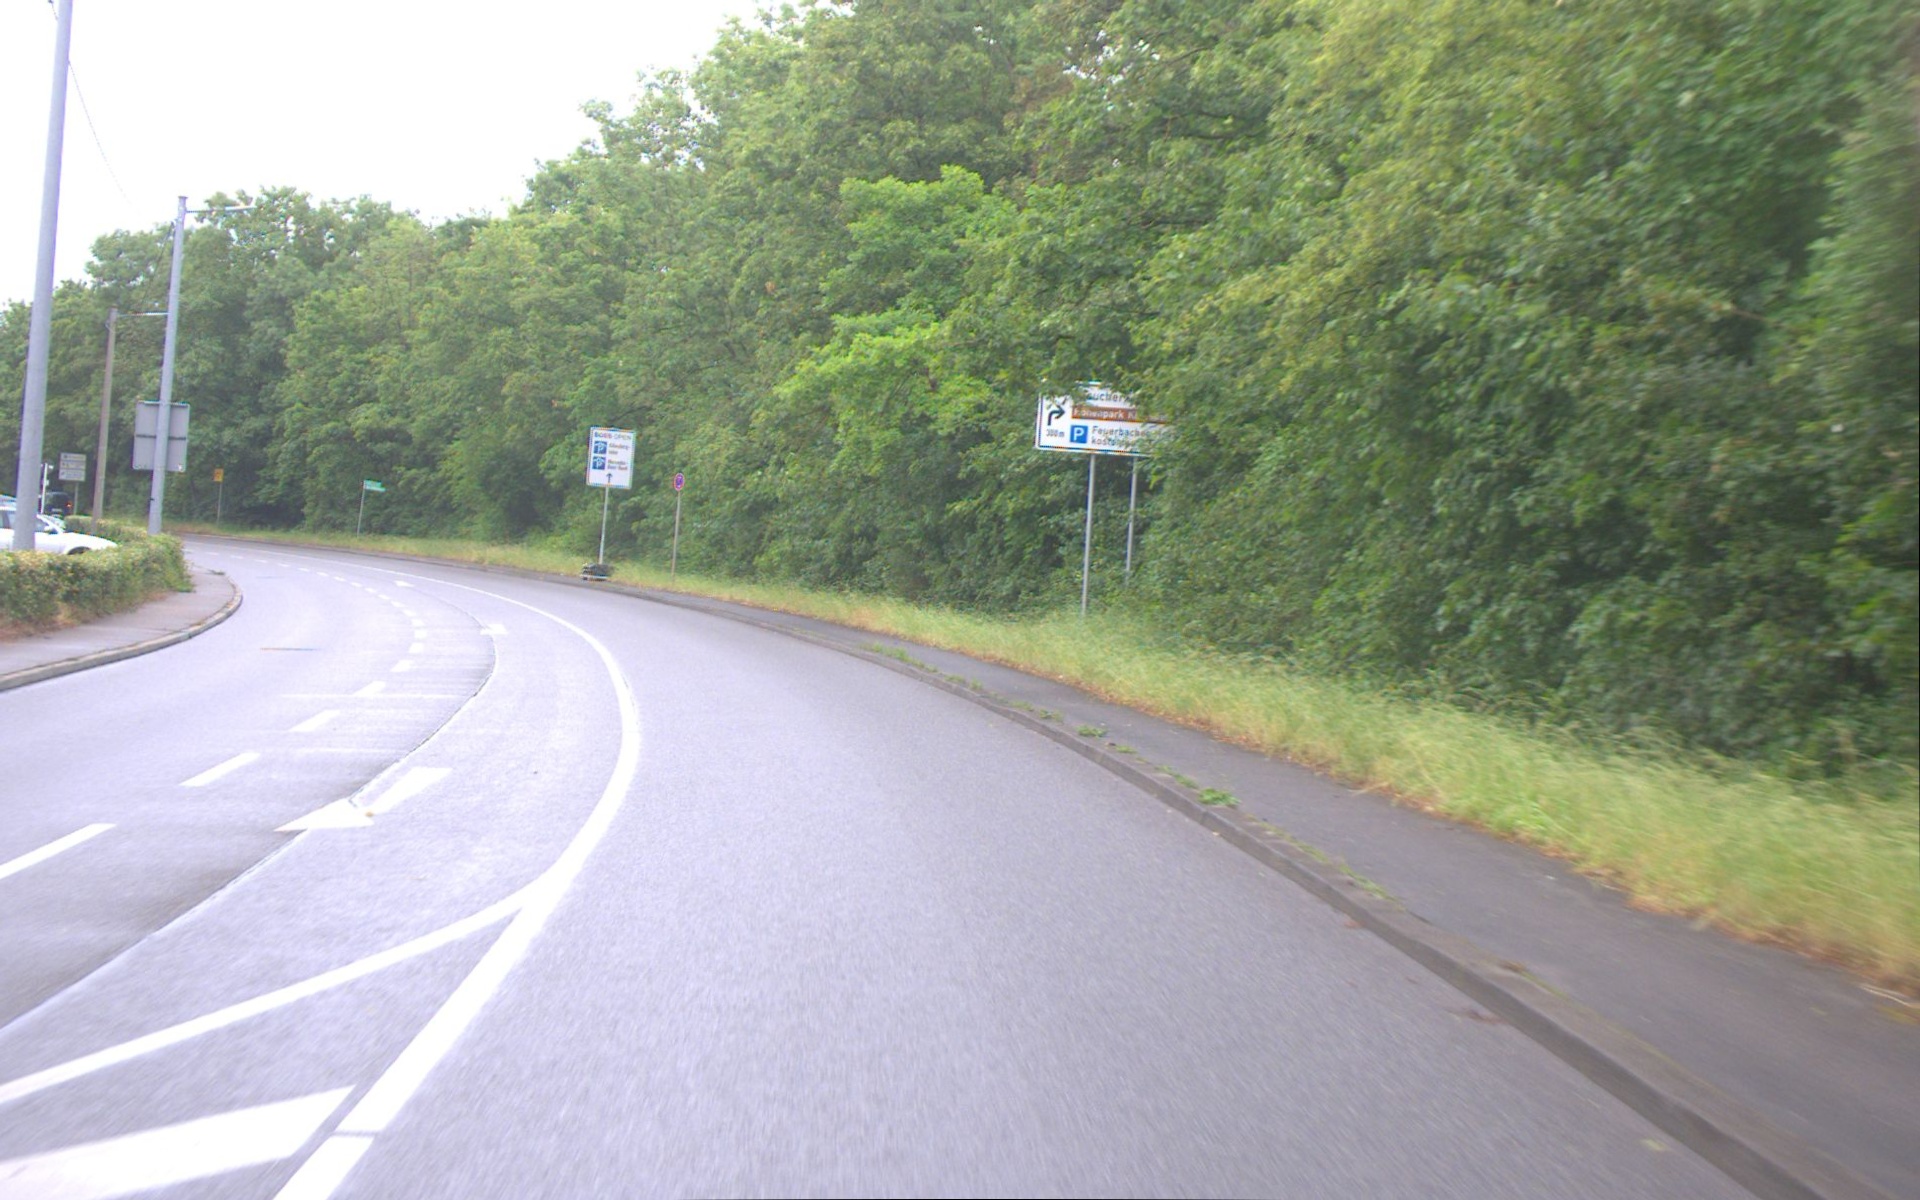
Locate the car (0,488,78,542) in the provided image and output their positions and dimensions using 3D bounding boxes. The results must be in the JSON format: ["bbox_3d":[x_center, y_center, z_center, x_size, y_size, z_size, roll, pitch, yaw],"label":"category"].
[{"bbox_3d":[-32.472,-2.959,117.843,4.289,1.702,2.001,3,1,-15],"label":"car"}]

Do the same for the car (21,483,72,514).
[{"bbox_3d":[-48.246,-5.366,181.564,1.934,1.493,4.319,2,1,-23],"label":"car"}]

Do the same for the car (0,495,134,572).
[{"bbox_3d":[-20.034,-1.457,73.180,4.573,1.501,2.001,2,1,-18],"label":"car"}]
